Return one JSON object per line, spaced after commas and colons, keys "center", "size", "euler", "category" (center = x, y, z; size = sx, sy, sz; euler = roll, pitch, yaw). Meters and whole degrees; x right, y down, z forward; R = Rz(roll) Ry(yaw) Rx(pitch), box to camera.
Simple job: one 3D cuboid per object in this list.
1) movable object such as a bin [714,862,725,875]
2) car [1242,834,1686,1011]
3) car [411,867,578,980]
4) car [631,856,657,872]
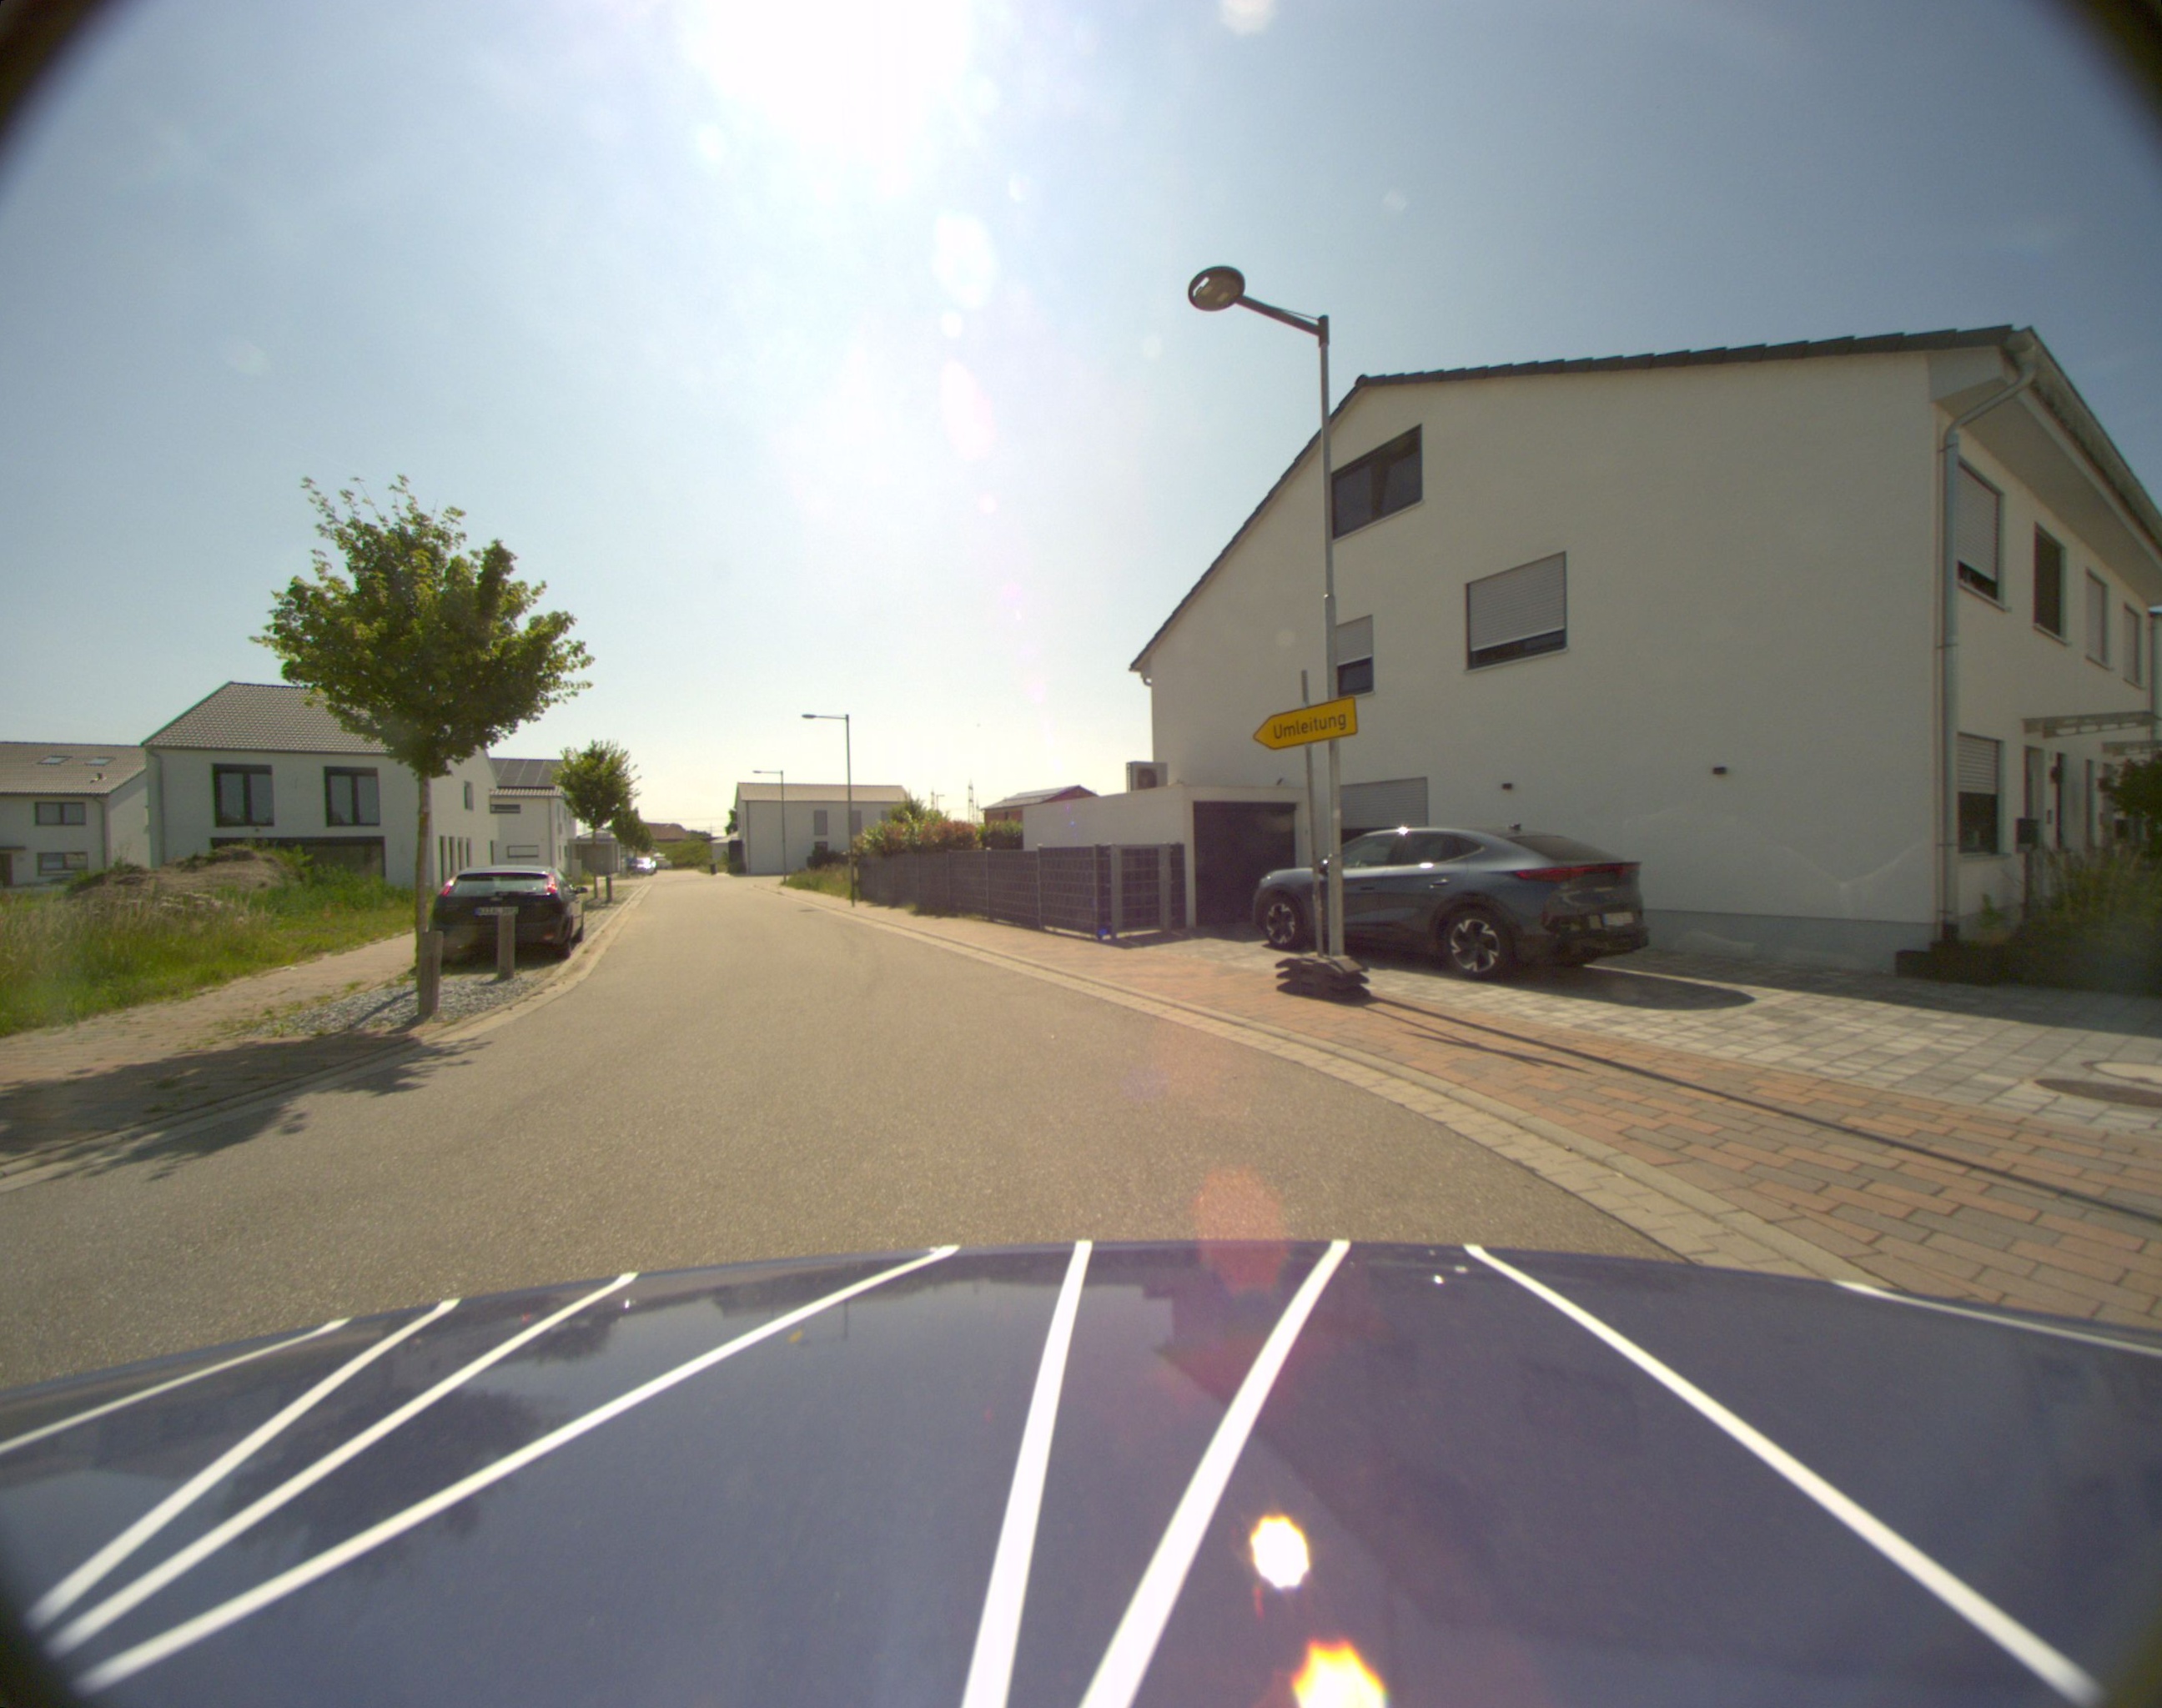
{"center": [-30.021, 1.194, 63.104], "size": [0.809, 1.092, 0.670], "euler": [-2, 1, -26], "category": "movable object such as a bin"}
{"center": [4.119, 0.590, 8.998], "size": [1.963, 1.549, 4.341], "euler": [-1, 0, -29], "category": "car"}
{"center": [-9.667, 1.007, 12.843], "size": [1.852, 1.485, 4.183], "euler": [-3, 1, -33], "category": "car"}
{"center": [-43.129, 0.975, 75.055], "size": [1.928, 1.412, 4.411], "euler": [-2, 1, -27], "category": "car"}
